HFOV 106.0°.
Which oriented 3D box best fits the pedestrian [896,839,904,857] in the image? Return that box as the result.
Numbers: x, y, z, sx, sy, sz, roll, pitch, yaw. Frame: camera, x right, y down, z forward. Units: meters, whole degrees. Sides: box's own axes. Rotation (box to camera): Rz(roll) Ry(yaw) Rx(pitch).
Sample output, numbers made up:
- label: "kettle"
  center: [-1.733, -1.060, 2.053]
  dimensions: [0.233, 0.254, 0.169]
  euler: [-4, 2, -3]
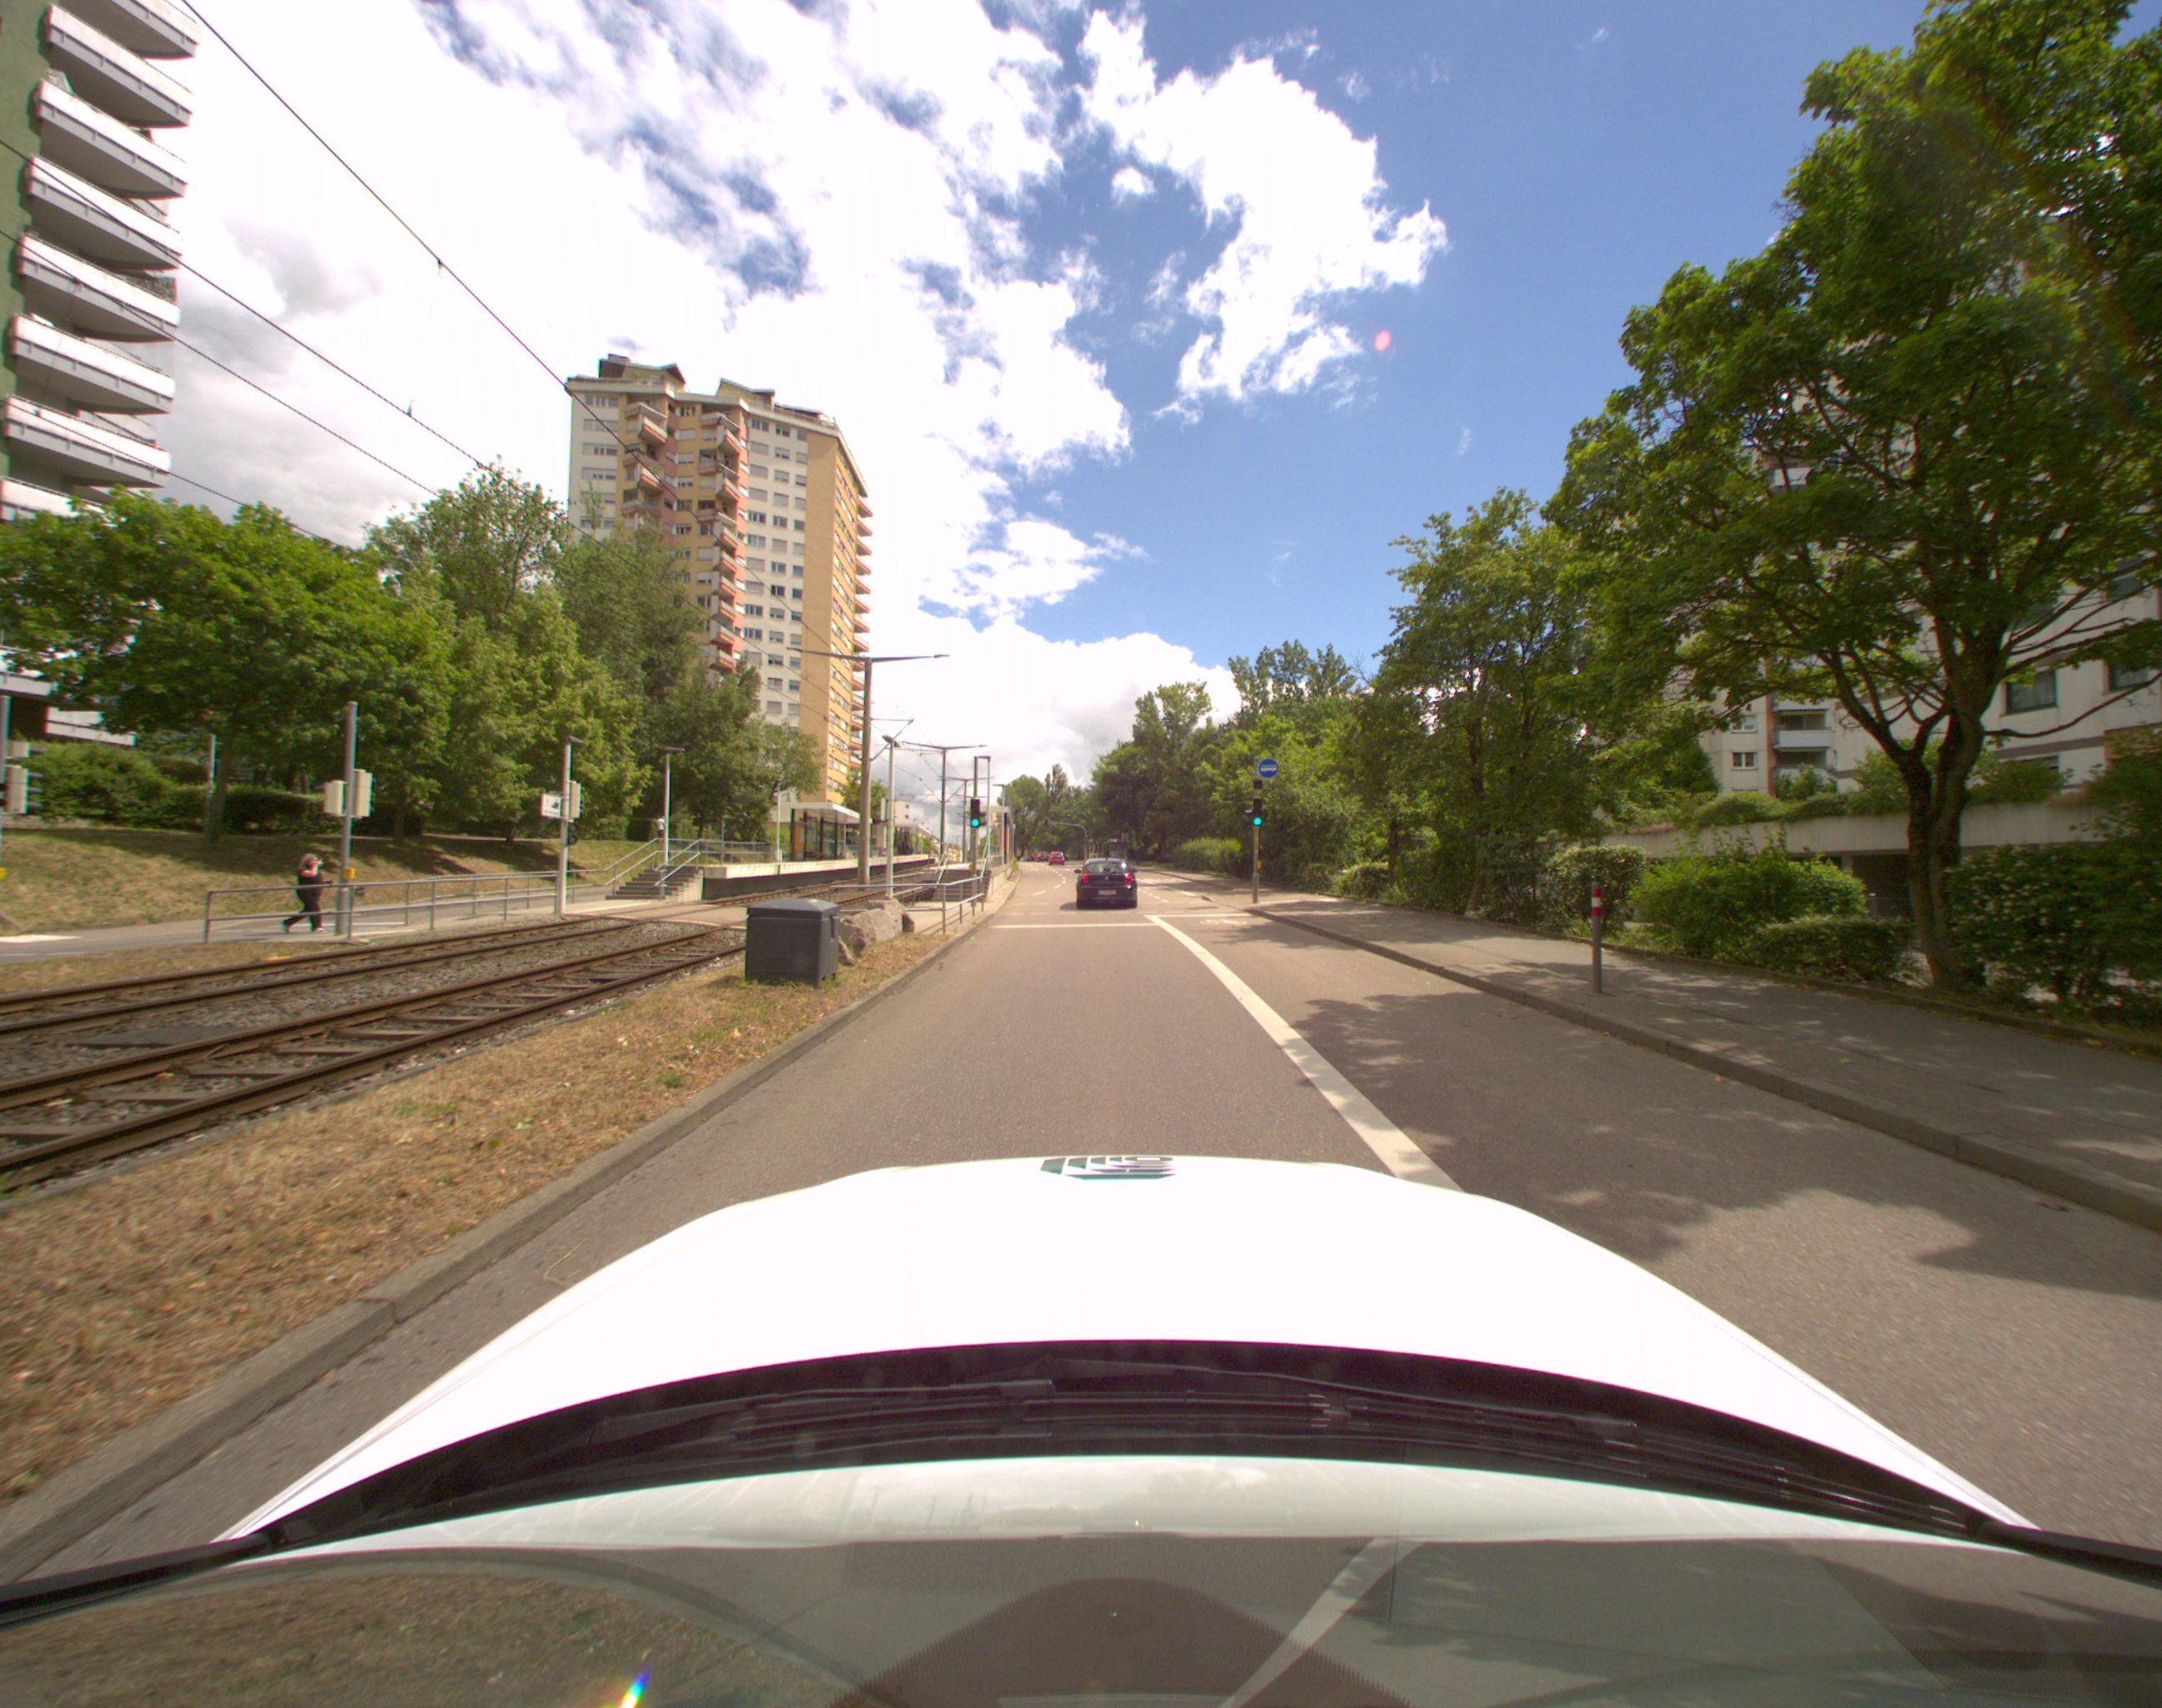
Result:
- label: "pedestrian"
  center: [-17.241, -0.572, 77.519]
  dimensions: [0.524, 1.644, 0.558]
  euler: [0, 0, -38]

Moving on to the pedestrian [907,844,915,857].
- label: "pedestrian"
  center: [-17.332, -0.353, 83.099]
  dimensions: [0.741, 1.236, 0.517]
  euler: [0, 0, -5]

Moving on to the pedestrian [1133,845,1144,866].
- label: "pedestrian"
  center: [5.372, 0.127, 75.904]
  dimensions: [0.800, 1.895, 1.268]
  euler: [1, 0, -4]

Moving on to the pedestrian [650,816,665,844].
- label: "pedestrian"
  center: [-26.498, -1.510, 50.984]
  dimensions: [0.649, 1.712, 0.503]
  euler: [-1, 0, -5]

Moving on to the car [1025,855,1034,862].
- label: "car"
  center: [-10.455, 0.905, 165.983]
  dimensions: [1.650, 1.419, 3.515]
  euler: [0, 0, -1]

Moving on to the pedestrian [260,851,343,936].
- label: "pedestrian"
  center: [-15.072, 0.747, 15.771]
  dimensions: [0.819, 1.563, 0.690]
  euler: [-3, 1, -3]

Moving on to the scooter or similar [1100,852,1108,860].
- label: "scooter or similar"
  center: [3.581, 0.275, 127.238]
  dimensions: [1.109, 1.258, 0.330]
  euler: [0, 0, -17]

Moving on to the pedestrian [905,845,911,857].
- label: "pedestrian"
  center: [-17.149, -0.296, 80.866]
  dimensions: [0.521, 1.236, 0.540]
  euler: [0, 0, -17]

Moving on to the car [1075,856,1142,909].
- label: "car"
  center: [0.728, 0.780, 23.886]
  dimensions: [1.651, 1.419, 3.512]
  euler: [0, 0, -3]

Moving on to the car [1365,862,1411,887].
- label: "car"
  center: [21.453, 1.423, 57.007]
  dimensions: [1.817, 1.618, 4.001]
  euler: [1, 0, 1]

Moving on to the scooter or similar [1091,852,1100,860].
- label: "scooter or similar"
  center: [2.218, 0.312, 126.209]
  dimensions: [1.293, 1.189, 0.382]
  euler: [0, 0, -21]

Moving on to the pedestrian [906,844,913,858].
- label: "pedestrian"
  center: [-17.271, -0.326, 82.141]
  dimensions: [0.642, 1.369, 0.506]
  euler: [0, 0, -5]

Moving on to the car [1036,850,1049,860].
- label: "car"
  center: [-5.351, 0.139, 112.823]
  dimensions: [1.653, 1.419, 3.508]
  euler: [0, 0, -7]

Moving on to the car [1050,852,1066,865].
- label: "car"
  center: [-2.551, 0.459, 88.501]
  dimensions: [1.592, 1.419, 3.511]
  euler: [0, 0, -5]

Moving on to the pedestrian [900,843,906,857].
- label: "pedestrian"
  center: [-17.083, -0.373, 78.283]
  dimensions: [0.542, 1.380, 0.519]
  euler: [0, -3, -14]
